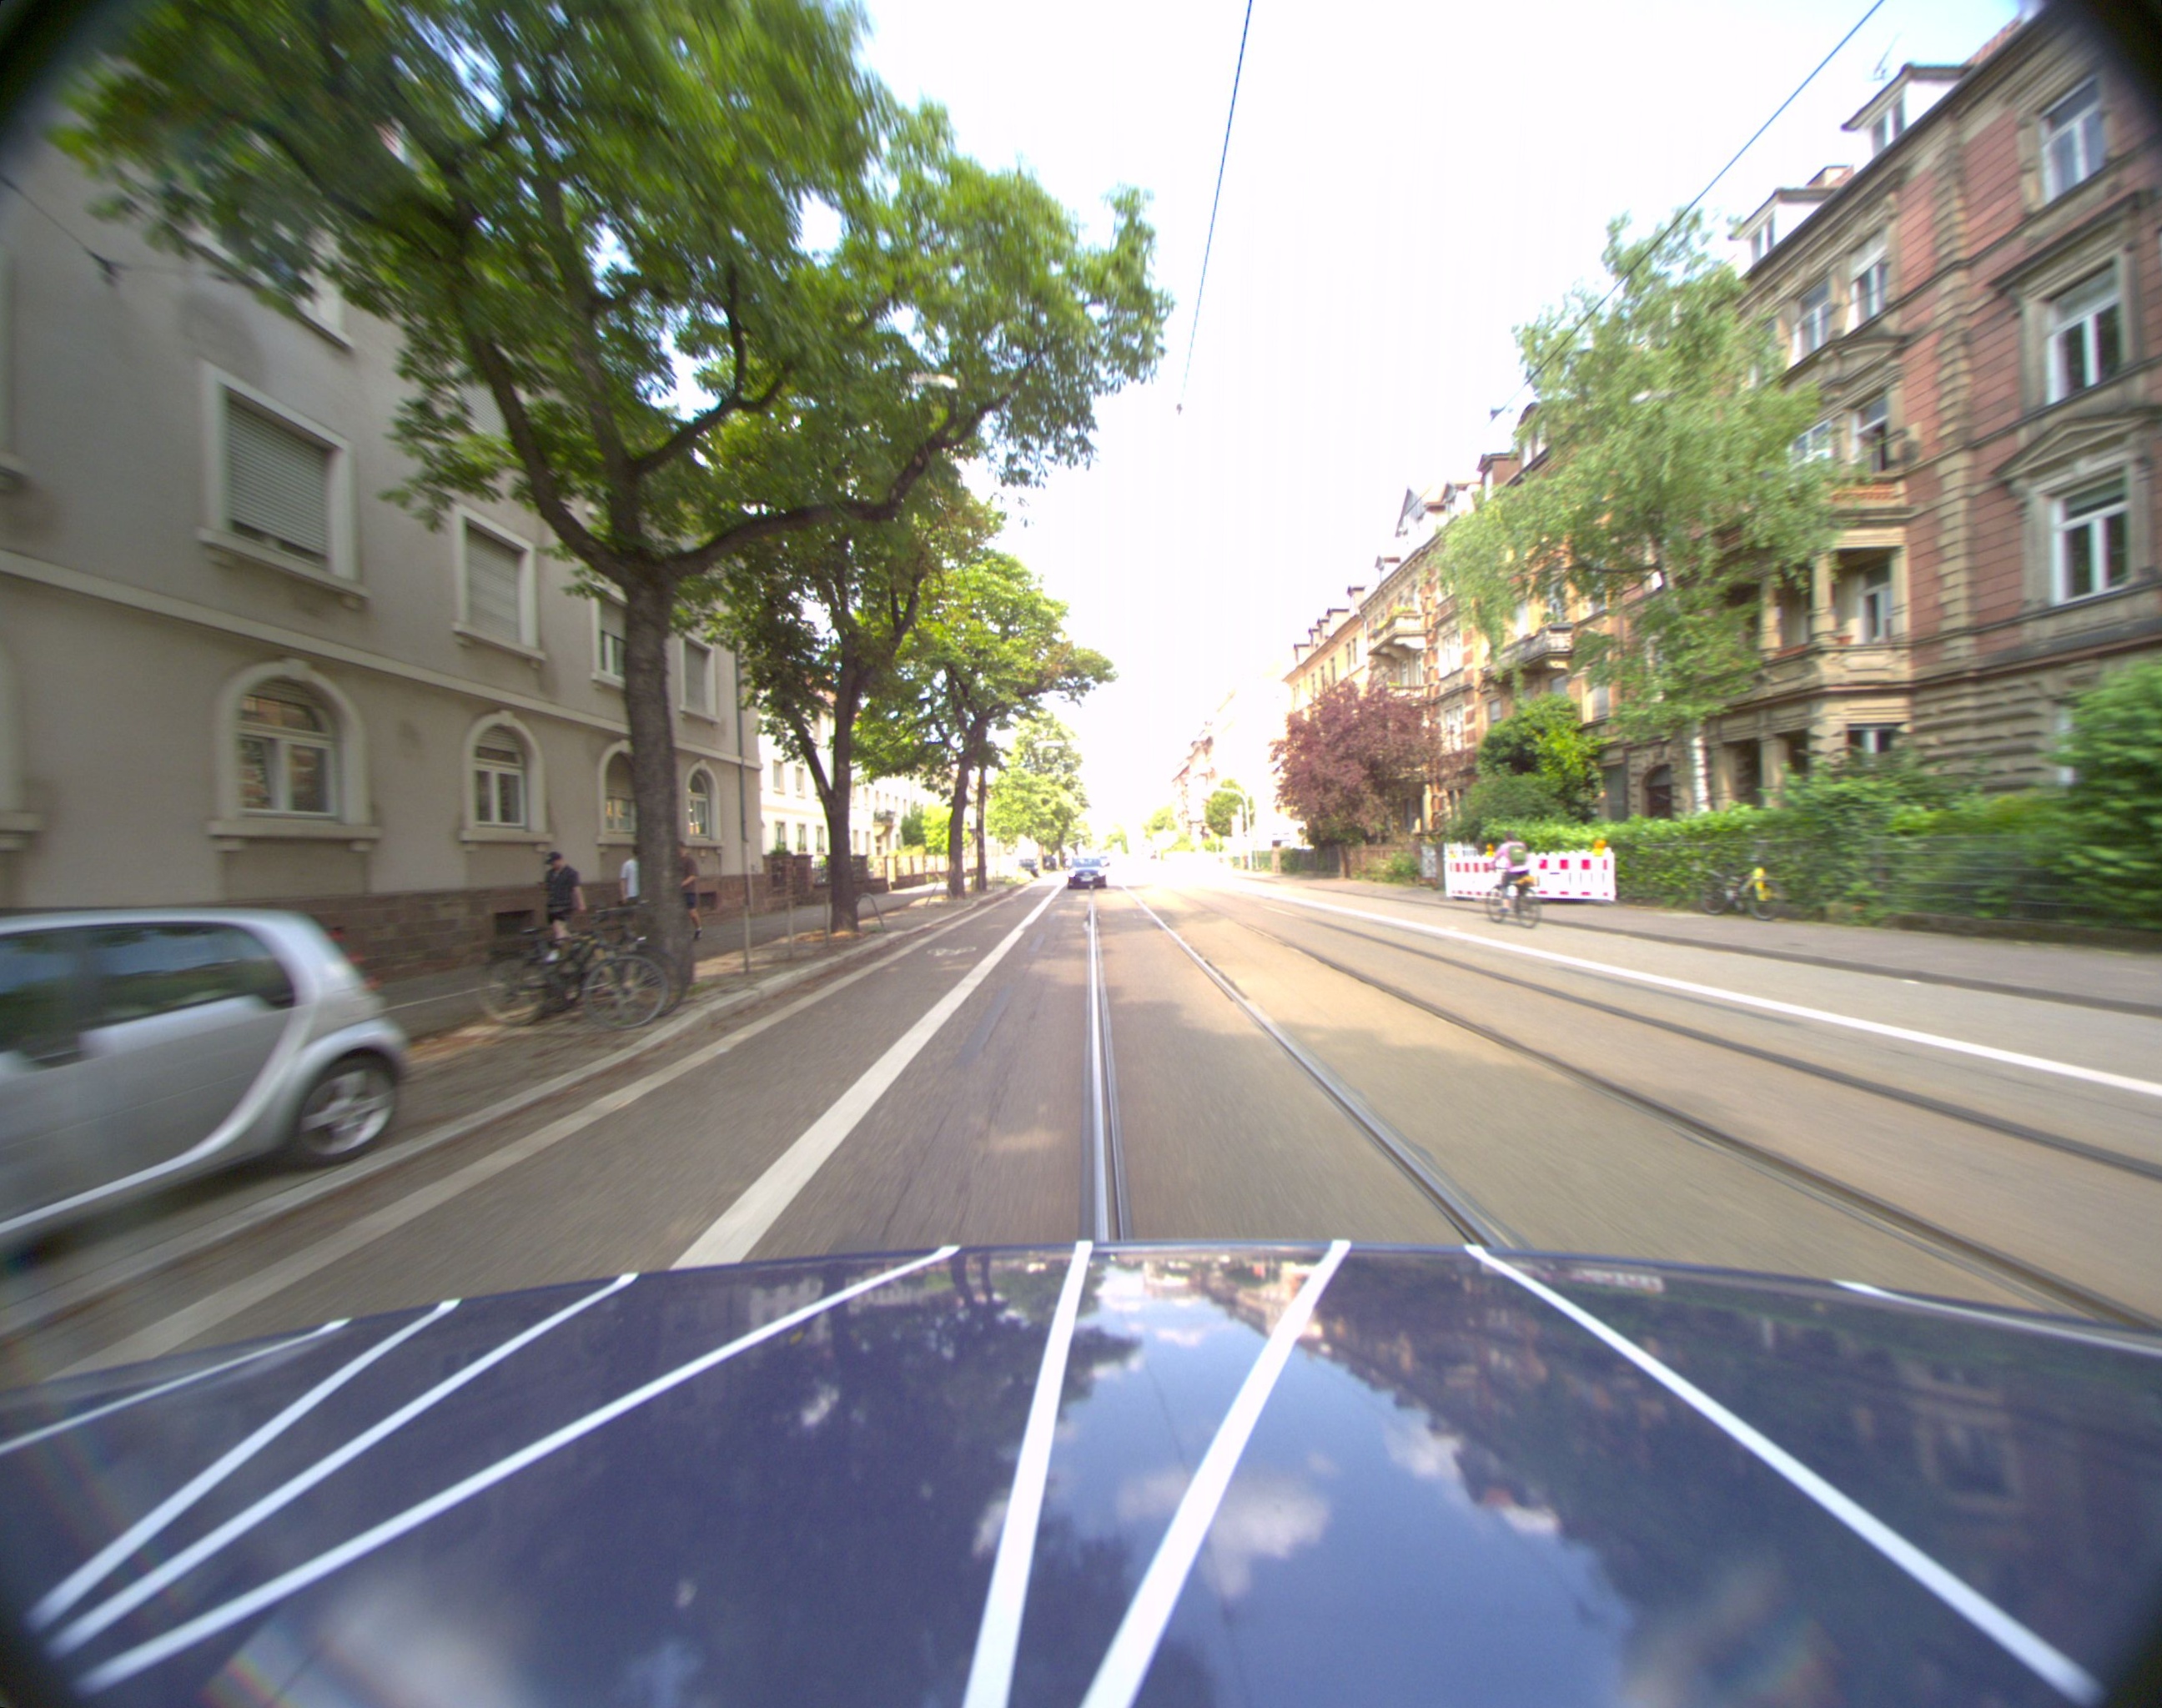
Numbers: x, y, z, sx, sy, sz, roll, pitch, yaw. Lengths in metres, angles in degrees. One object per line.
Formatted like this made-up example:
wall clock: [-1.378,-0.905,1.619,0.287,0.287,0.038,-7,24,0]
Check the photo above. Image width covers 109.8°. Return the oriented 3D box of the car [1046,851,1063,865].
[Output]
car: [-3.018,0.436,87.233,1.693,1.537,3.617,-2,0,0]

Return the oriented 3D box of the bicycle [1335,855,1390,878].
bicycle: [12.165,0.534,32.883,2.133,0.931,0.586,-2,1,0]

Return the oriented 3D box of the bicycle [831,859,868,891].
bicycle: [-9.746,0.863,32.135,0.654,1.184,2.598,-3,1,1]

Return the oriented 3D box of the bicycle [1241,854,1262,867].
bicycle: [12.482,0.455,55.579,1.431,0.935,0.401,0,-2,3]

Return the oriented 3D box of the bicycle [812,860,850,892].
bicycle: [-10.536,0.900,32.134,0.654,1.184,2.598,-3,1,1]

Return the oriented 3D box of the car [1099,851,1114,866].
car: [3.051,0.501,92.683,1.715,1.718,3.736,-3,1,1]

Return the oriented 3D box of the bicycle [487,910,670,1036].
bicycle: [-4.966,1.170,7.538,1.490,1.146,0.518,-2,1,7]

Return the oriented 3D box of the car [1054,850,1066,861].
car: [-3.241,0.216,115.553,1.693,1.537,3.460,-2,0,0]

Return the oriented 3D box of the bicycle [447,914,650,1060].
bicycle: [-4.806,1.190,6.891,1.490,1.214,0.518,-2,2,7]

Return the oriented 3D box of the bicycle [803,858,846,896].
bicycle: [-9.807,0.839,29.174,0.654,1.311,2.598,-3,1,1]

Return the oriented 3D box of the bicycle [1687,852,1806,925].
bicycle: [11.157,0.535,12.812,0.413,1.131,1.819,-2,1,1]

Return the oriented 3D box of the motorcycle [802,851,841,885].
motorcycle: [-11.742,0.615,34.419,0.752,1.406,2.598,-3,1,1]

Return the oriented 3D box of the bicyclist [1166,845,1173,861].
bicyclist: [8.478,-0.094,73.002,0.614,1.490,0.743,0,1,13]

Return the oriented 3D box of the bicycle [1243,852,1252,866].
bicycle: [11.776,0.337,53.834,0.400,0.935,1.473,0,-2,3]

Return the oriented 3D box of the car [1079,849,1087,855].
car: [0.406,-0.496,168.388,1.693,1.380,4.000,-2,0,0]

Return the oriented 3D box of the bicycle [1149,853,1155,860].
bicycle: [9.169,0.299,98.024,0.483,0.936,1.754,0,1,-2]

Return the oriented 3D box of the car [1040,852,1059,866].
car: [-3.219,0.493,77.758,1.693,1.380,4.000,-2,0,0]

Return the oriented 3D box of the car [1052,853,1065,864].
car: [-3.231,0.633,108.992,1.693,1.537,3.460,-2,0,0]

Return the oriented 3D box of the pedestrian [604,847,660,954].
pedestrian: [-8.013,0.808,13.580,0.506,1.842,0.687,-2,1,1]

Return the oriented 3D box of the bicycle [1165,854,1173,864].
bicycle: [8.470,0.442,72.959,0.607,0.936,1.756,0,1,13]

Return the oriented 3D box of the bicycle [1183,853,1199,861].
bicycle: [12.513,0.324,86.701,1.750,0.936,0.484,0,1,25]

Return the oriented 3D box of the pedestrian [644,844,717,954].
pedestrian: [-7.174,0.780,13.646,0.755,1.878,0.886,-2,1,1]

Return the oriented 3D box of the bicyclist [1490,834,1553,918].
bicyclist: [7.773,0.369,13.452,0.566,1.417,0.942,-2,1,3]

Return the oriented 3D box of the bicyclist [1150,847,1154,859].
bicyclist: [9.171,-0.146,97.950,0.477,1.490,0.743,0,1,-2]

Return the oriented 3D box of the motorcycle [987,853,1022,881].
motorcycle: [-4.321,0.721,42.770,0.812,1.485,2.065,-2,1,-43]

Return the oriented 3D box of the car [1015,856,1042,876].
car: [-3.944,0.920,57.872,1.693,1.380,4.000,-2,0,0]

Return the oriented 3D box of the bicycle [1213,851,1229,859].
bicycle: [16.015,0.082,87.102,1.753,0.936,0.483,0,1,0]

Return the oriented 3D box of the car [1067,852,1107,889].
car: [0.267,0.723,35.705,1.693,1.568,4.156,-2,0,0]

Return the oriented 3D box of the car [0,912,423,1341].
car: [-4.805,1.105,2.620,1.589,1.436,3.898,-2,0,1]

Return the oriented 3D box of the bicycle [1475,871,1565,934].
bicycle: [7.791,0.826,13.577,0.570,0.984,1.918,-2,0,3]

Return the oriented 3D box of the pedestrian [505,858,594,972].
pedestrian: [-8.002,0.885,11.484,0.582,1.630,0.976,-2,1,1]

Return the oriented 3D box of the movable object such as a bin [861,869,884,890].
movable object such as a bin: [-9.568,1.149,34.932,0.830,0.911,0.752,-2,1,0]
